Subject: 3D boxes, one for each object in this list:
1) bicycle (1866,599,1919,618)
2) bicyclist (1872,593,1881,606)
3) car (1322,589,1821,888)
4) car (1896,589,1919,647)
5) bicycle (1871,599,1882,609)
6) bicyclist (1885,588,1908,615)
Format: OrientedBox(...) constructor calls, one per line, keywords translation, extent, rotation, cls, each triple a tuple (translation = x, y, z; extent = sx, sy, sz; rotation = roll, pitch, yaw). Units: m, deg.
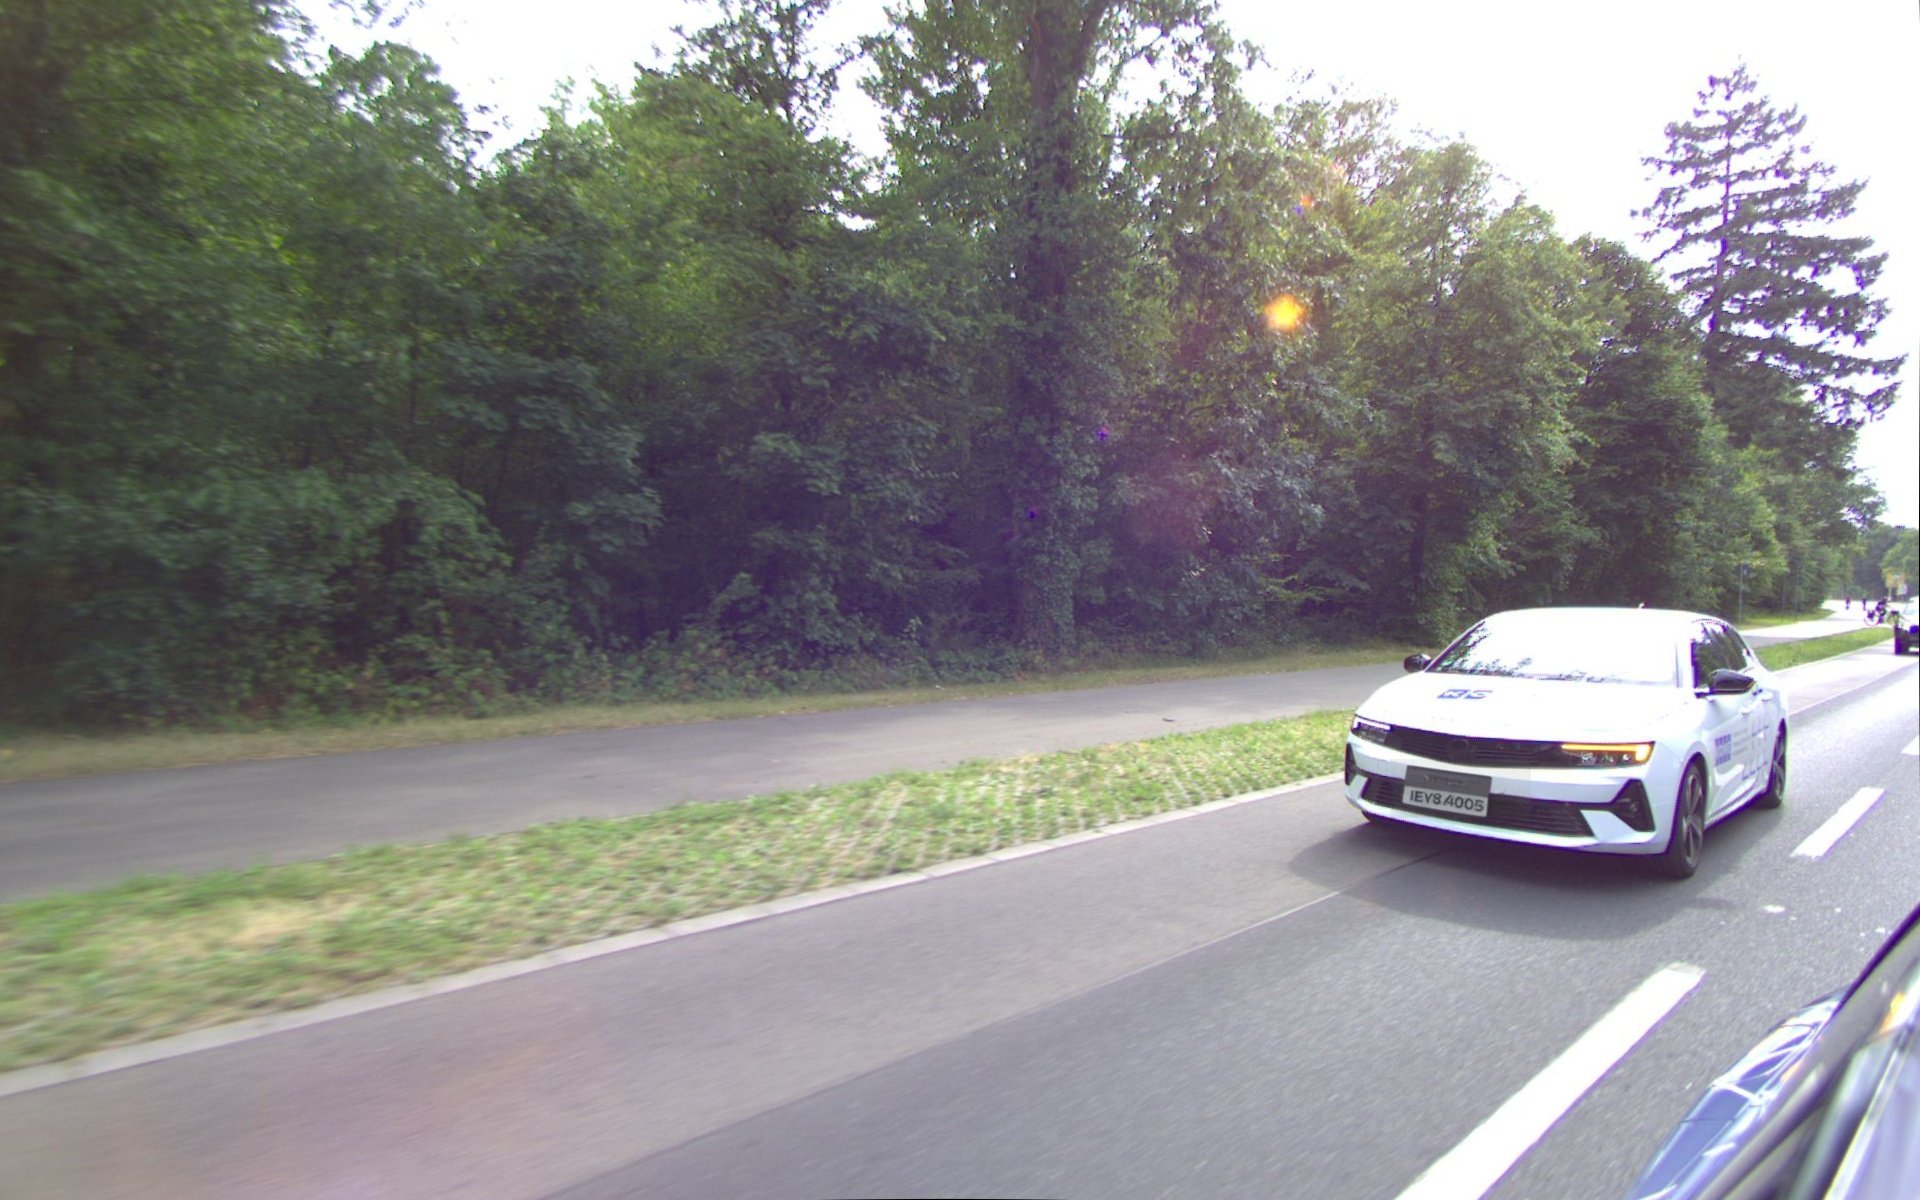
OrientedBox(translation=(53.339, 0.497, 57.919), extent=(0.699, 1.006, 2.176), rotation=(0, 1, -44), cls="bicycle")
OrientedBox(translation=(98.039, -0.068, 108.305), extent=(0.518, 1.433, 1.172), rotation=(2, 1, 33), cls="bicyclist")
OrientedBox(translation=(4.447, 0.656, 7.024), extent=(4.414, 1.428, 1.838), rotation=(0, 0, -43), cls="car")
OrientedBox(translation=(28.426, 0.494, 29.106), extent=(3.934, 1.593, 1.995), rotation=(-1, 1, -44), cls="car")
OrientedBox(translation=(97.967, 0.435, 108.210), extent=(0.564, 0.923, 1.734), rotation=(4, 3, 33), cls="bicycle")
OrientedBox(translation=(53.465, 0.073, 57.790), extent=(0.699, 1.489, 0.899), rotation=(0, 1, -44), cls="bicyclist")
